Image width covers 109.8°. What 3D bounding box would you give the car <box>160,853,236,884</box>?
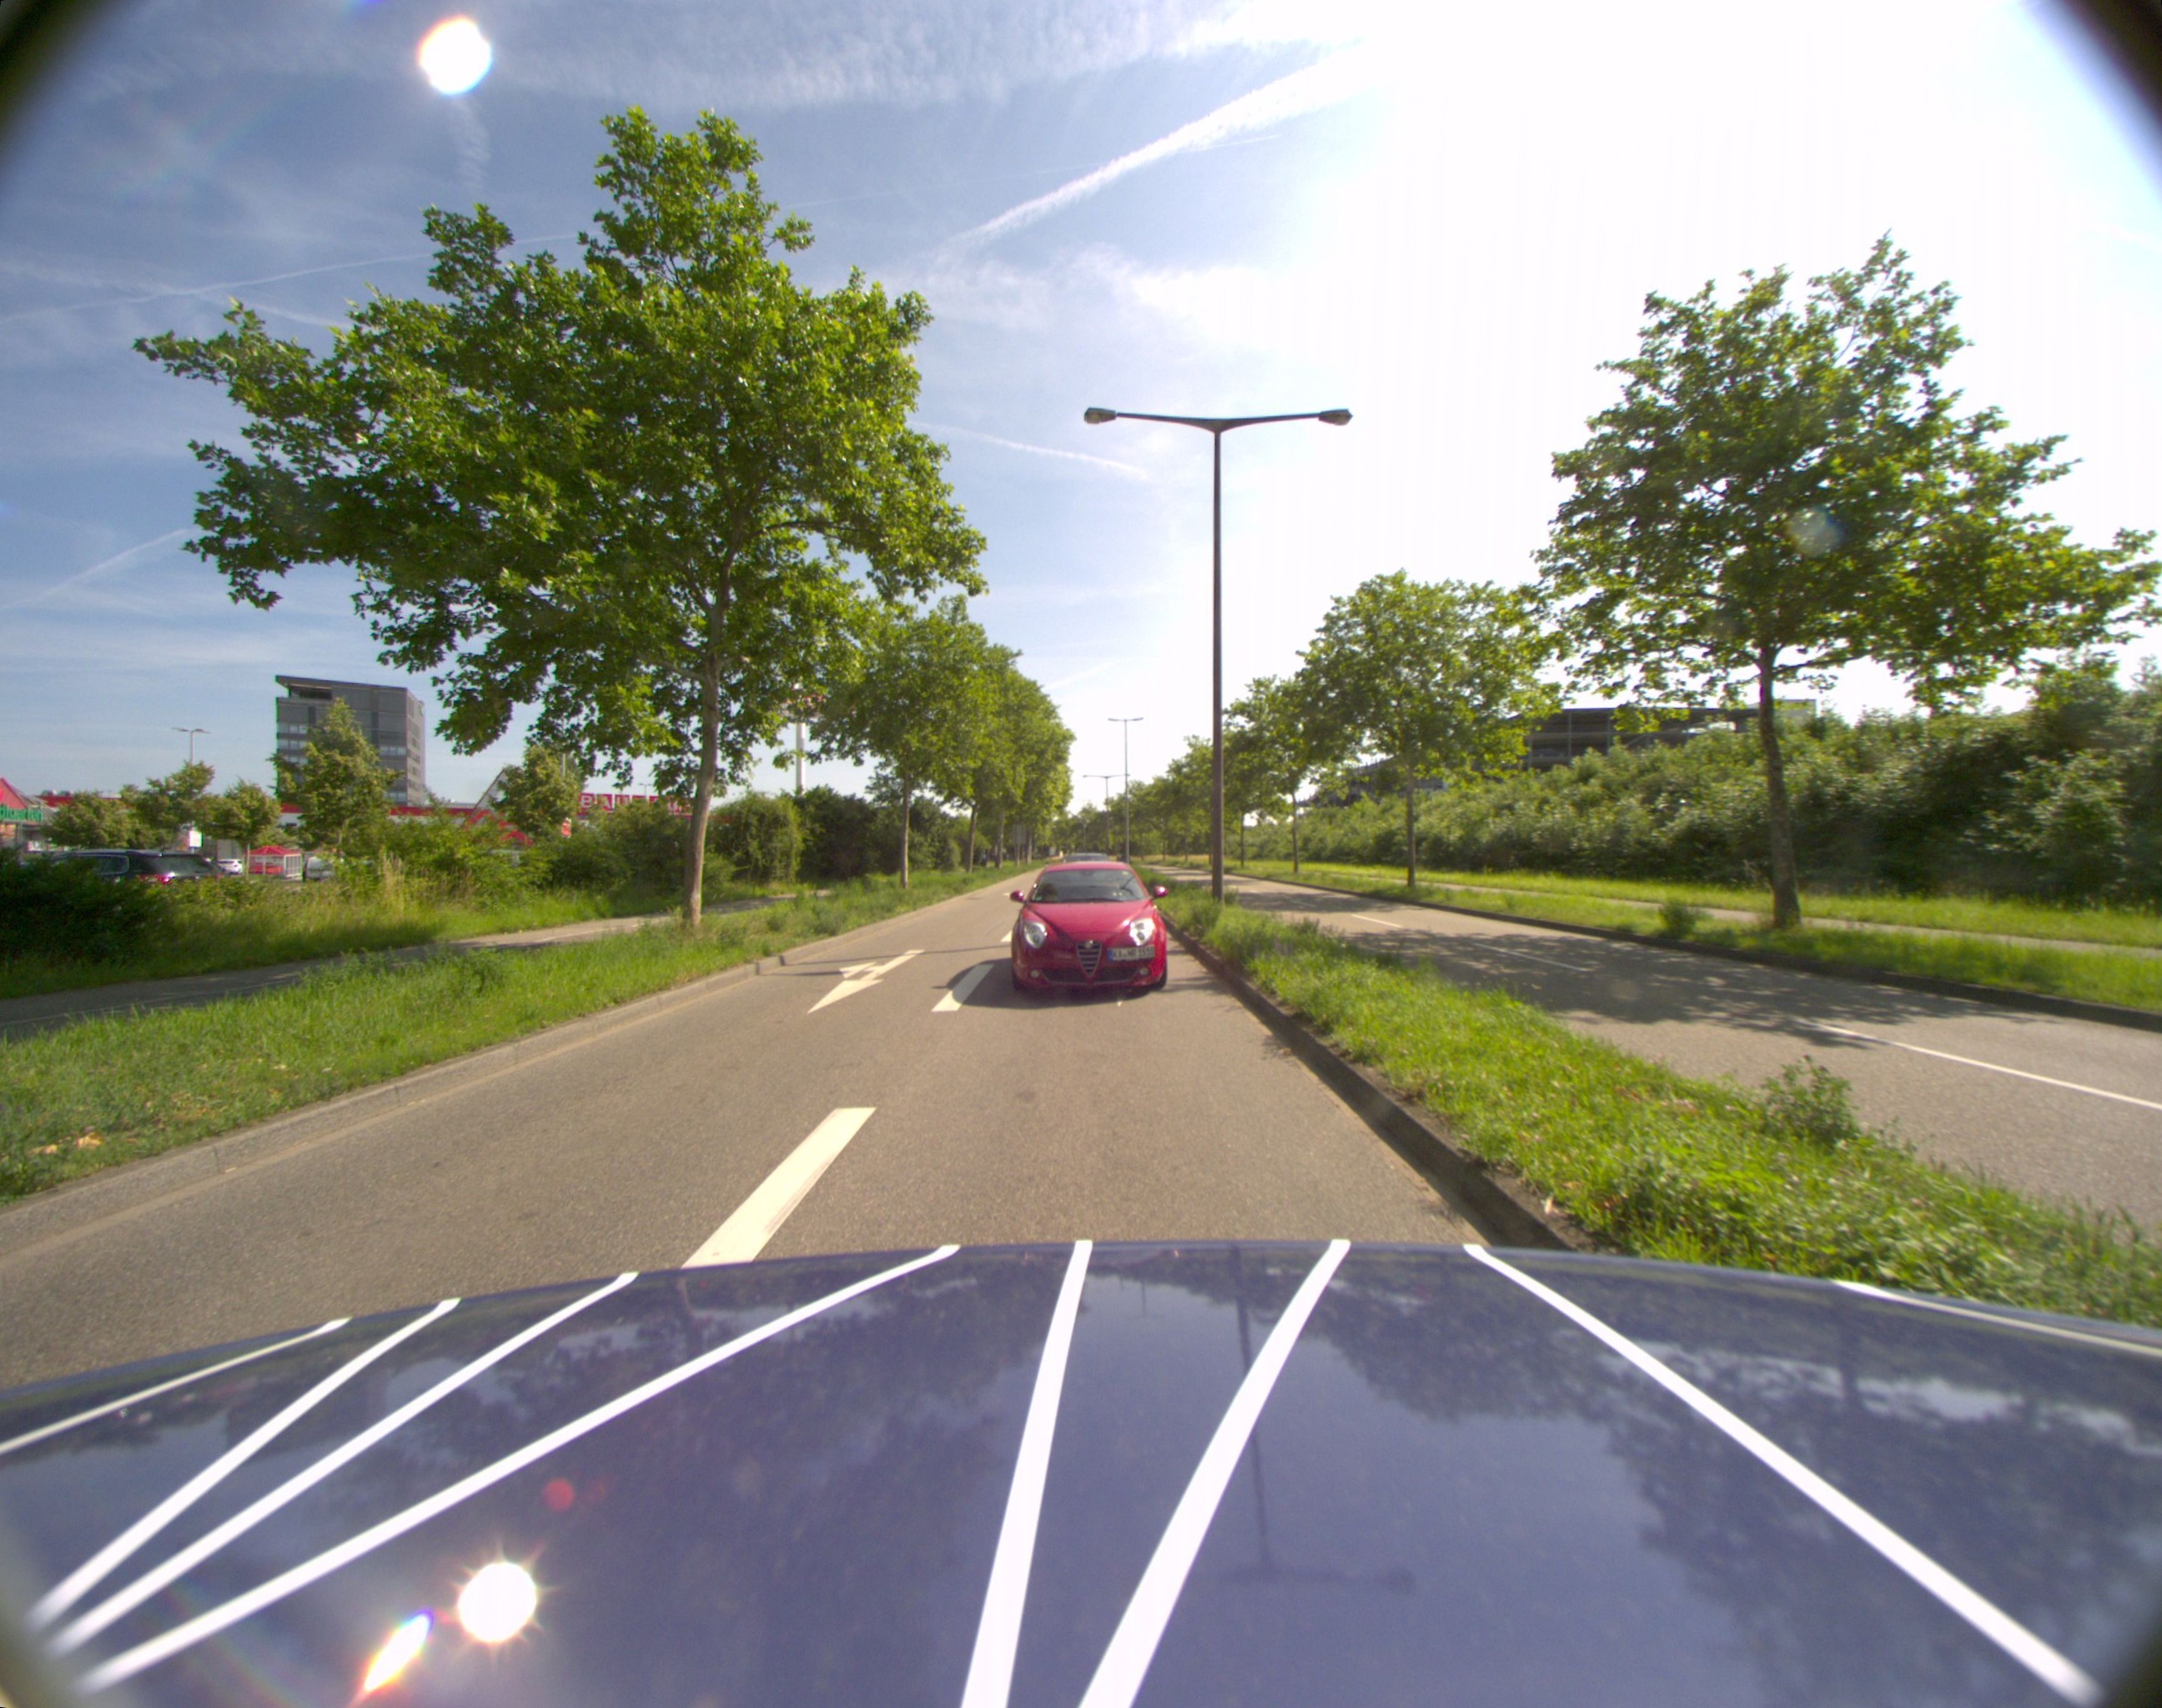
[{"bbox_3d":[-47.405,0.723,40.869,1.693,1.565,3.989,-1,1,-35],"label":"car"}]

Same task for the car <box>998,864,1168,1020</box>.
[{"bbox_3d":[0.058,0.908,9.566,1.658,1.430,3.908,-2,1,1],"label":"car"}]

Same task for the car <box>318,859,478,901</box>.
[{"bbox_3d":[-22.537,0.843,25.193,3.563,1.292,1.766,0,1,-6],"label":"car"}]

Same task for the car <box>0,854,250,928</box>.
[{"bbox_3d":[-22.101,0.792,17.394,3.861,1.576,1.848,0,1,-6],"label":"car"}]

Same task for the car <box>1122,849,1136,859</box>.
[{"bbox_3d":[7.241,-0.002,115.934,1.868,1.459,3.937,-1,1,0],"label":"car"}]

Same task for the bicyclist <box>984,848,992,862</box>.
[{"bbox_3d":[-10.194,0.099,83.458,0.687,1.622,1.002,0,1,1],"label":"bicyclist"}]

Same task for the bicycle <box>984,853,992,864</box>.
[{"bbox_3d":[-10.196,0.479,83.416,0.687,1.230,1.934,0,1,1],"label":"bicycle"}]

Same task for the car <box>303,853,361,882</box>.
[{"bbox_3d":[-42.863,0.743,43.577,1.693,1.565,3.989,-1,1,-35],"label":"car"}]

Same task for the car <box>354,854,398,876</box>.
[{"bbox_3d":[-49.623,0.738,53.531,1.693,1.447,3.989,-1,1,-35],"label":"car"}]

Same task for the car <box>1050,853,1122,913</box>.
[{"bbox_3d":[0.161,0.755,22.145,1.874,1.536,4.081,-1,1,1],"label":"car"}]

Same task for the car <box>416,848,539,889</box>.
[{"bbox_3d":[-24.799,0.534,31.364,3.869,1.576,1.844,-1,1,-38],"label":"car"}]
